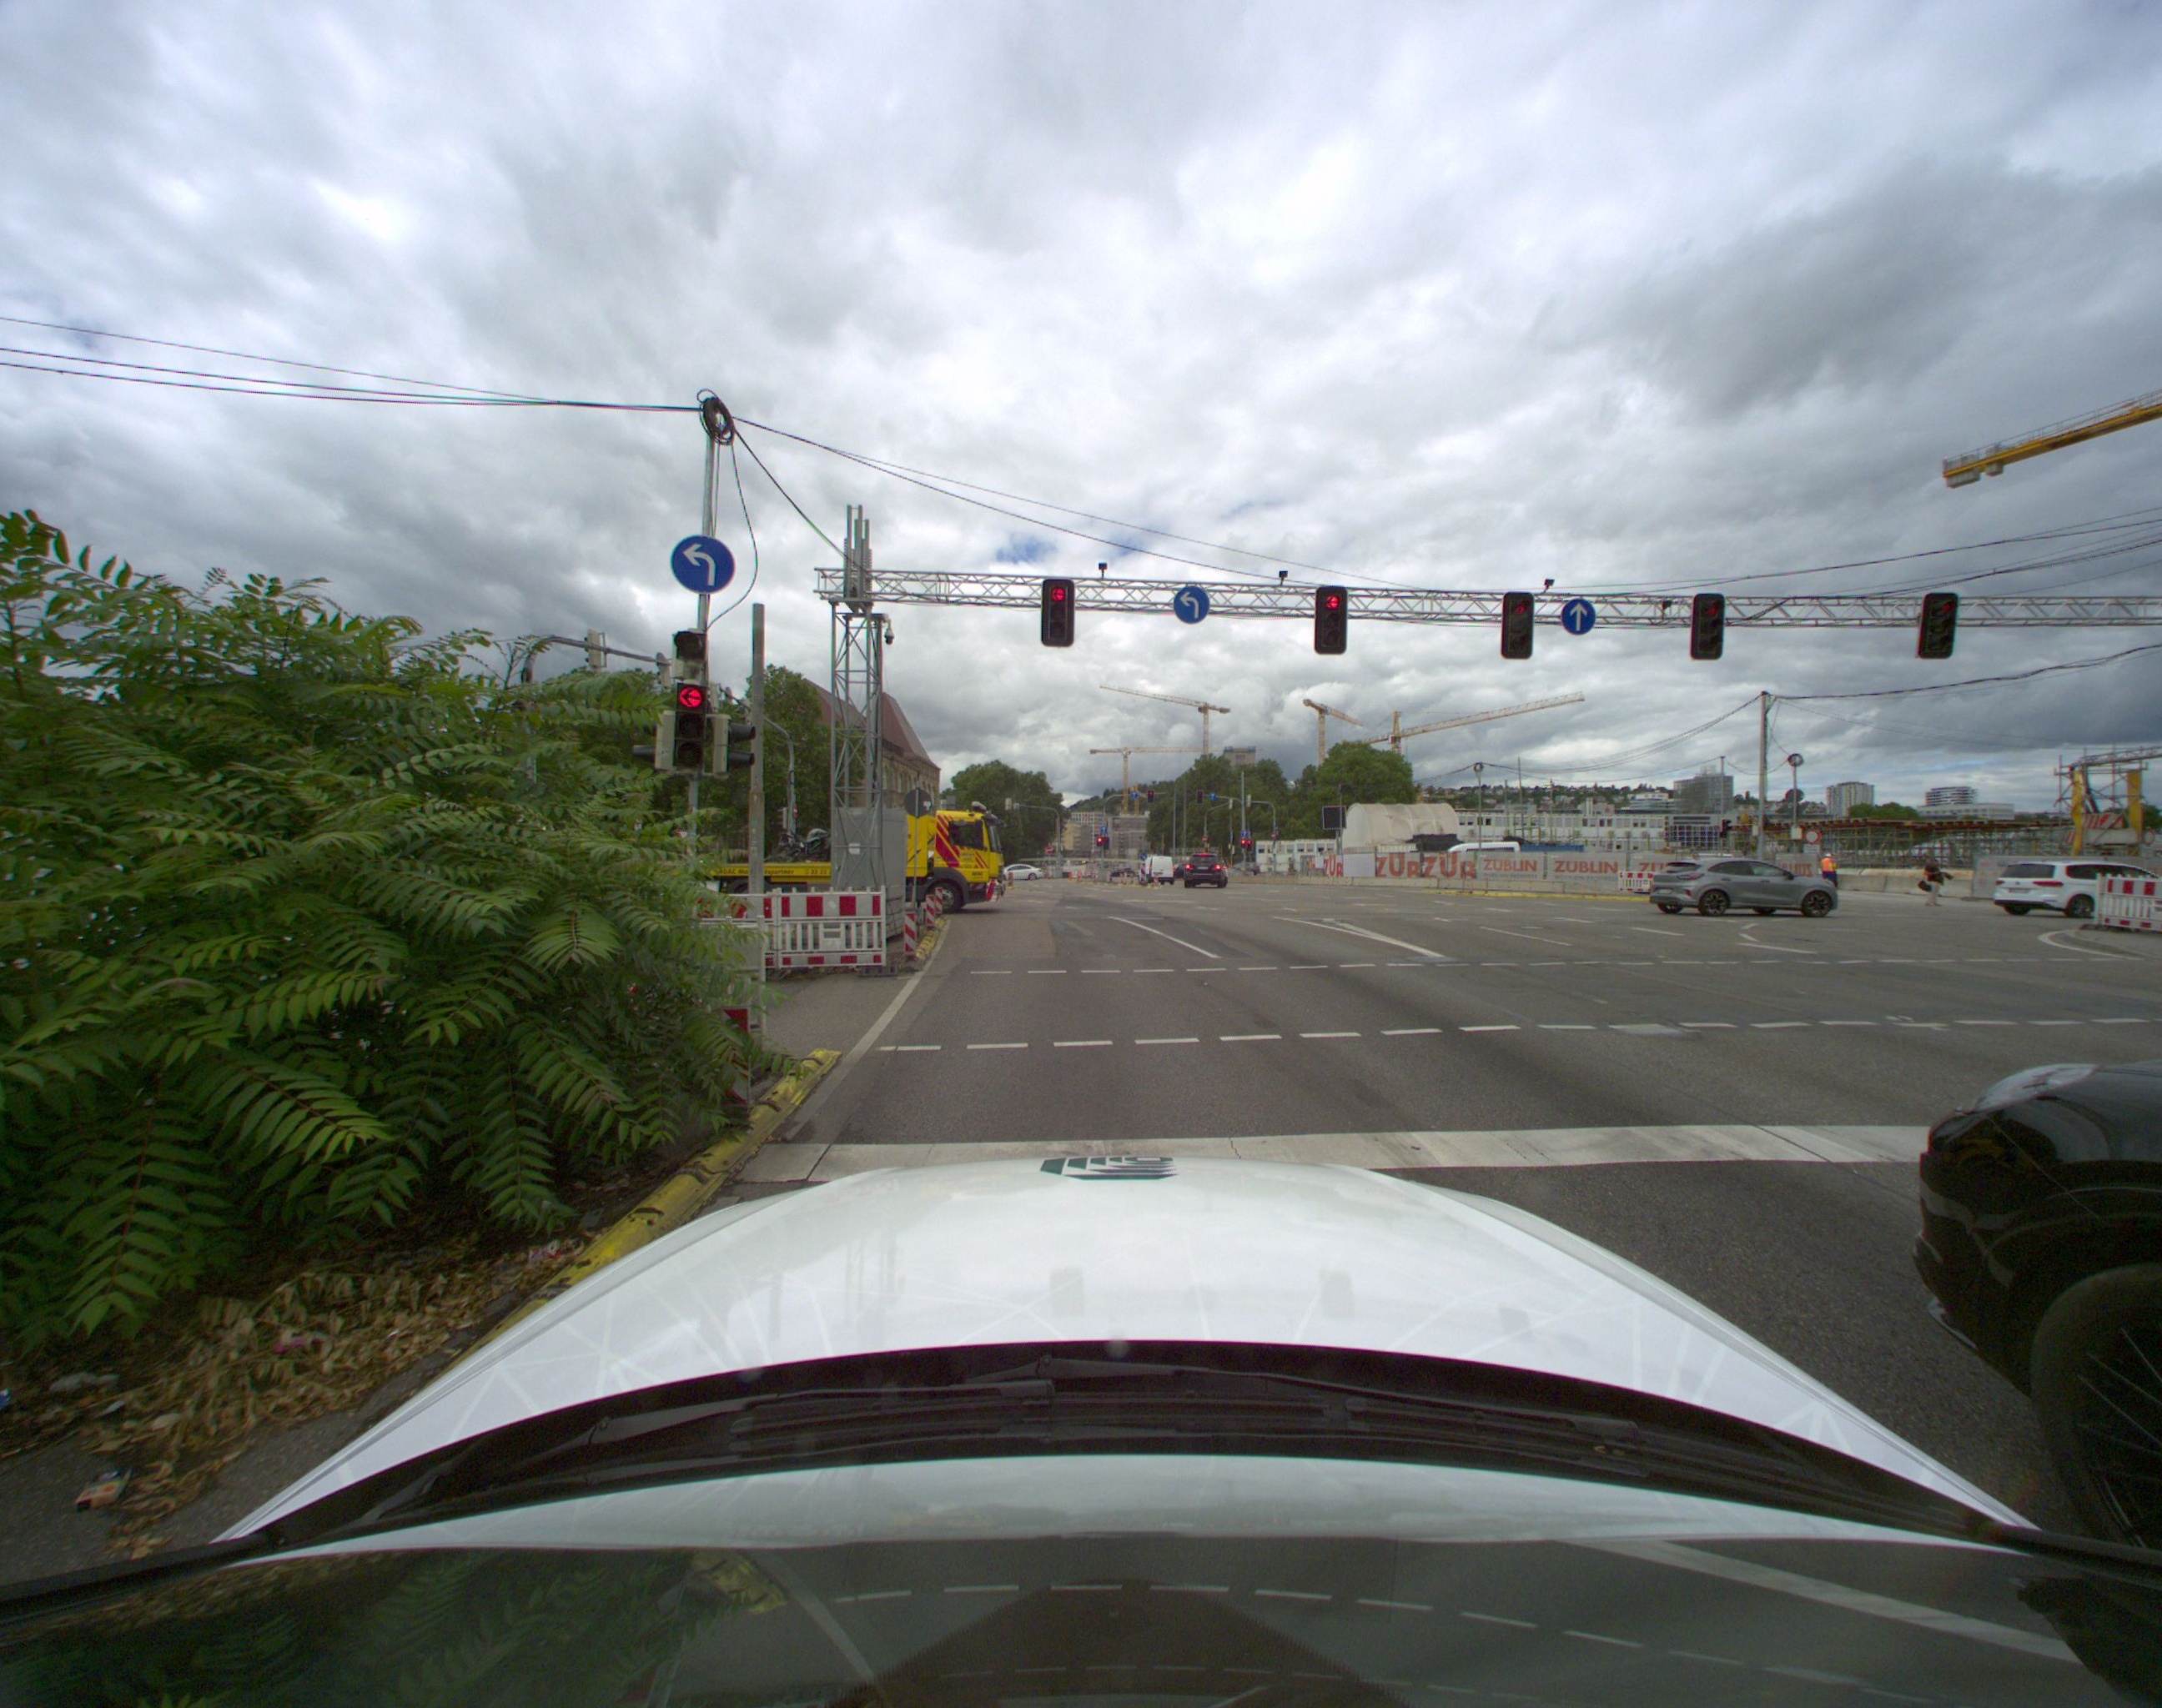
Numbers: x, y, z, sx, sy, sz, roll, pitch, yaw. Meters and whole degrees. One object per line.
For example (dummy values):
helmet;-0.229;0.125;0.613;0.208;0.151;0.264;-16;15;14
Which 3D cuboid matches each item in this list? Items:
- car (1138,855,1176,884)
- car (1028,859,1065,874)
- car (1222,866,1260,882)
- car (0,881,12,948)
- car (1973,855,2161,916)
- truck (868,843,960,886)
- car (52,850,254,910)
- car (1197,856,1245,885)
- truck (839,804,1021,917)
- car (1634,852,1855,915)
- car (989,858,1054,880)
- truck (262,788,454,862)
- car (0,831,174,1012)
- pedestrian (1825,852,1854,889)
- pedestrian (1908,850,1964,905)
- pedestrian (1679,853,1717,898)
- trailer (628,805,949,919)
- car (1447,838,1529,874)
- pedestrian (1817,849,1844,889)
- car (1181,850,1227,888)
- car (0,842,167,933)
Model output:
car;4.981;0.995;53.842;1.859;1.833;4.717;0;0;-3
car;-3.973;1.467;93.940;3.964;1.662;2.005;0;-1;8
car;17.647;2.228;89.844;3.959;1.728;2.007;-1;-1;13
car;-34.685;1.846;23.926;3.971;2.014;2.001;0;-1;2
car;29.794;0.887;23.982;4.649;1.702;2.002;0;-1;4
truck;-12.842;0.767;62.614;6.607;3.146;2.350;0;-1;-22
car;-28.772;0.793;25.358;3.975;1.740;1.909;1;-1;-1
car;9.108;1.052;53.296;1.990;1.759;4.497;0;-1;-5
truck;-3.795;0.171;21.373;4.191;2.725;2.862;0;-1;0
car;17.462;0.752;21.599;4.281;1.540;1.999;0;-1;-1
car;-5.070;1.229;69.640;5.188;1.785;2.149;0;-1;-21
truck;-50.193;-1.974;56.876;9.716;4.961;3.102;0;-1;-11
car;-11.588;0.656;9.094;3.950;1.706;1.845;-1;-1;43
pedestrian;39.172;0.840;42.056;0.677;1.916;0.865;0;-1;-4
pedestrian;32.448;0.881;30.912;1.024;2.014;1.050;-1;-1;11
pedestrian;25.744;0.893;33.974;1.035;1.848;0.794;-1;-1;17
trailer;-7.355;0.202;21.298;7.328;2.725;2.861;0;-1;-2
car;23.466;0.119;47.100;3.955;2.014;2.009;-1;-1;17
pedestrian;38.205;0.745;41.533;0.673;2.014;0.869;-1;-1;14
car;6.416;0.764;42.134;1.980;1.834;4.272;-1;-1;13
car;-20.509;0.618;15.915;3.957;1.608;1.917;-1;-1;15
